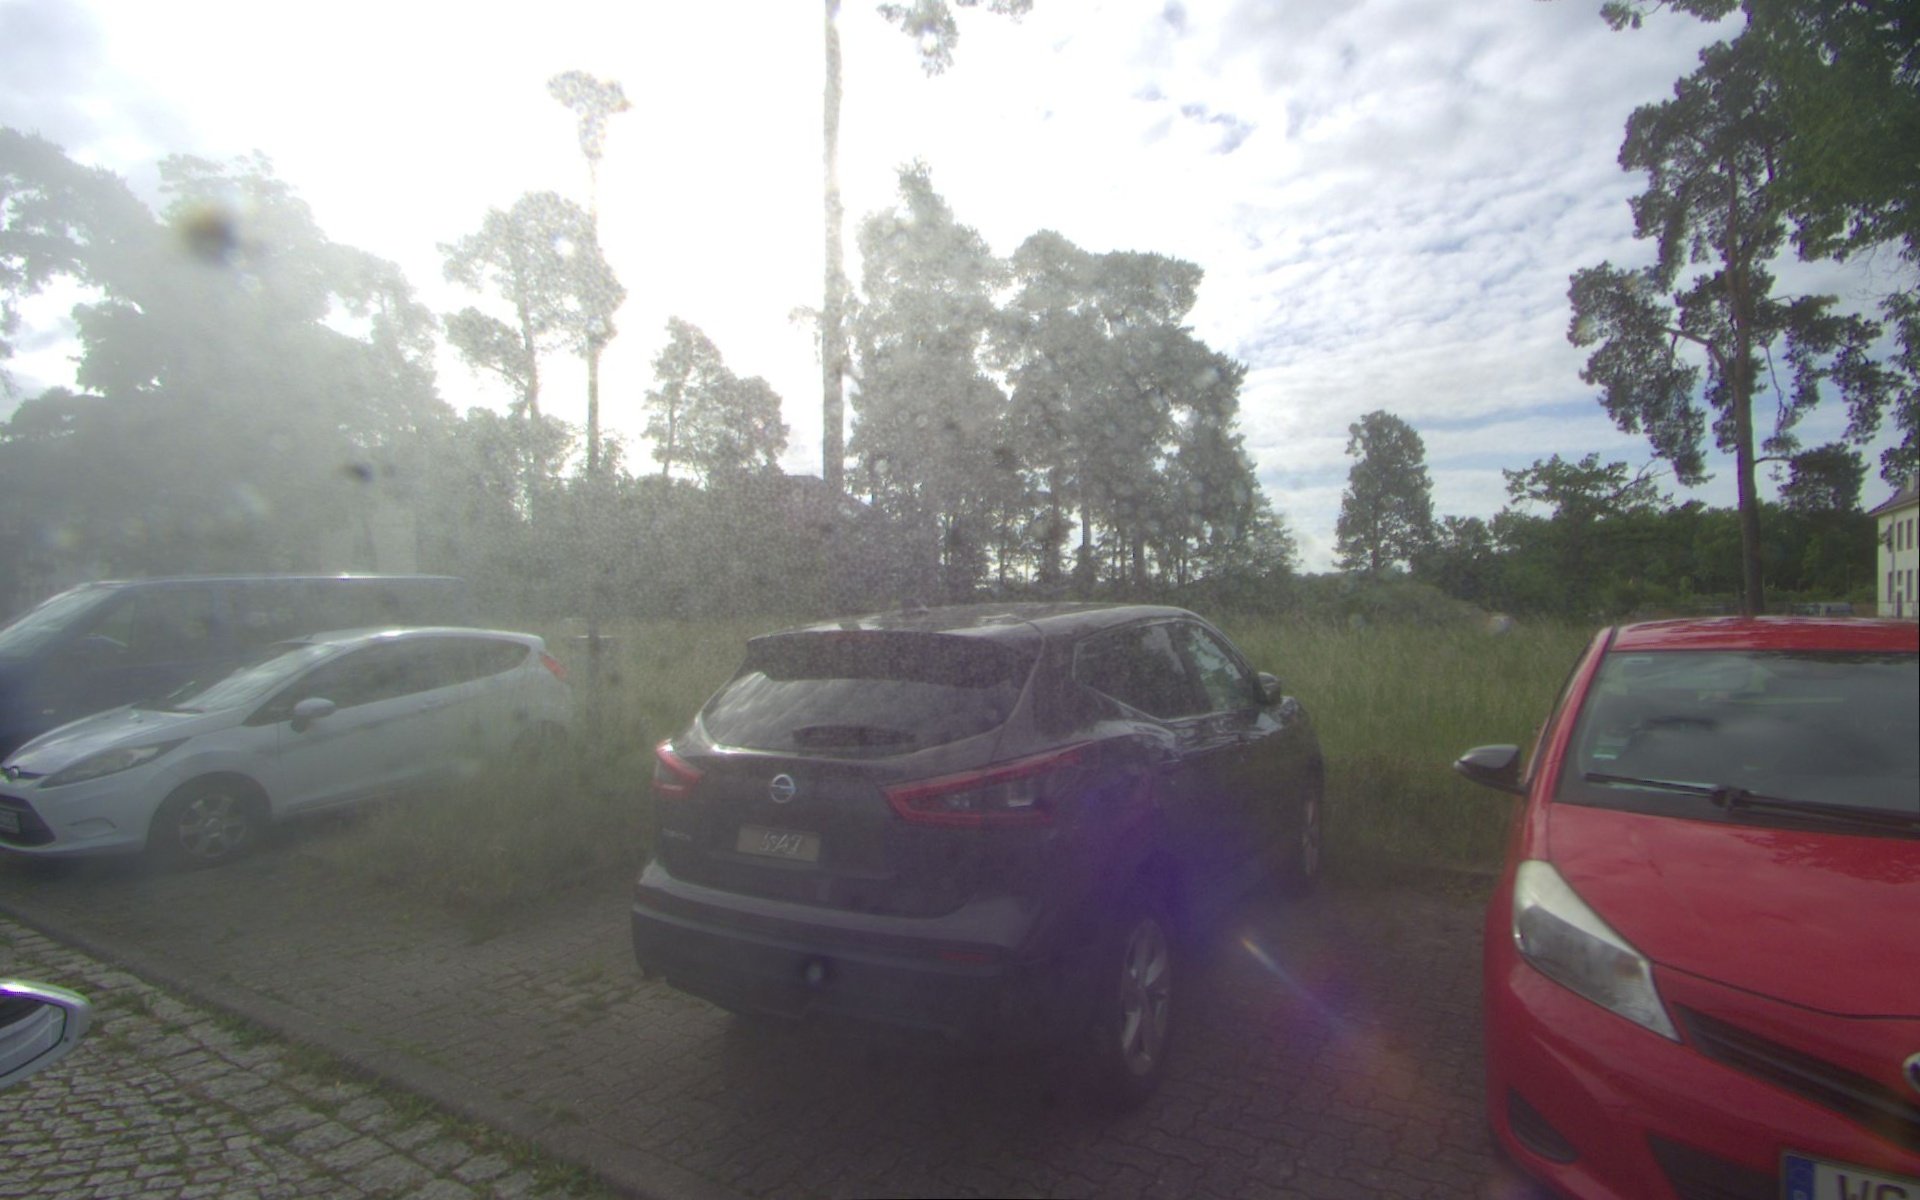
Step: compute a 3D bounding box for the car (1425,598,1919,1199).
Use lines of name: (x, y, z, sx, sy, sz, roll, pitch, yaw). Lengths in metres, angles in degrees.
car: (2.827, 0.774, 3.437, 1.740, 1.505, 3.997, 0, 1, 32)

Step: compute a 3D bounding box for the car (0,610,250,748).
car: (-11.325, 0.927, 12.296, 1.732, 1.492, 3.855, 0, 1, 31)

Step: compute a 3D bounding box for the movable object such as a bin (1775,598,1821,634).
movable object such as a bin: (49.636, 0.944, 59.297, 3.209, 2.040, 1.666, 0, 0, -41)

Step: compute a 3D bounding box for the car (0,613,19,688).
car: (-20.229, 1.025, 18.170, 1.844, 1.436, 4.252, 0, 1, 32)

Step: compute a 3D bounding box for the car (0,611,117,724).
car: (-14.000, 0.944, 13.340, 1.732, 1.492, 3.855, 0, 1, 31)

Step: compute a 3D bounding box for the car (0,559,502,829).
car: (-7.018, 0.660, 9.236, 1.974, 1.972, 4.798, 0, 1, 31)

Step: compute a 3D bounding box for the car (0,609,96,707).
car: (-16.045, 0.942, 15.357, 1.732, 1.492, 3.855, 0, 1, 31)

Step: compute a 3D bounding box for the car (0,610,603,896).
car: (-4.950, 0.882, 7.725, 1.814, 1.492, 3.855, 0, 1, 31)

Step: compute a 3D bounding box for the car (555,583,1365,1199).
car: (0.559, 0.751, 4.587, 1.795, 1.620, 4.252, 0, 1, 31)

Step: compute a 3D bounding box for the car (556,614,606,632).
car: (-33.771, 2.067, 89.361, 1.628, 1.439, 3.940, -1, -4, 35)

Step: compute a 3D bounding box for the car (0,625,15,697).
car: (-18.383, 1.109, 16.423, 1.732, 1.253, 3.855, 0, 1, 31)
